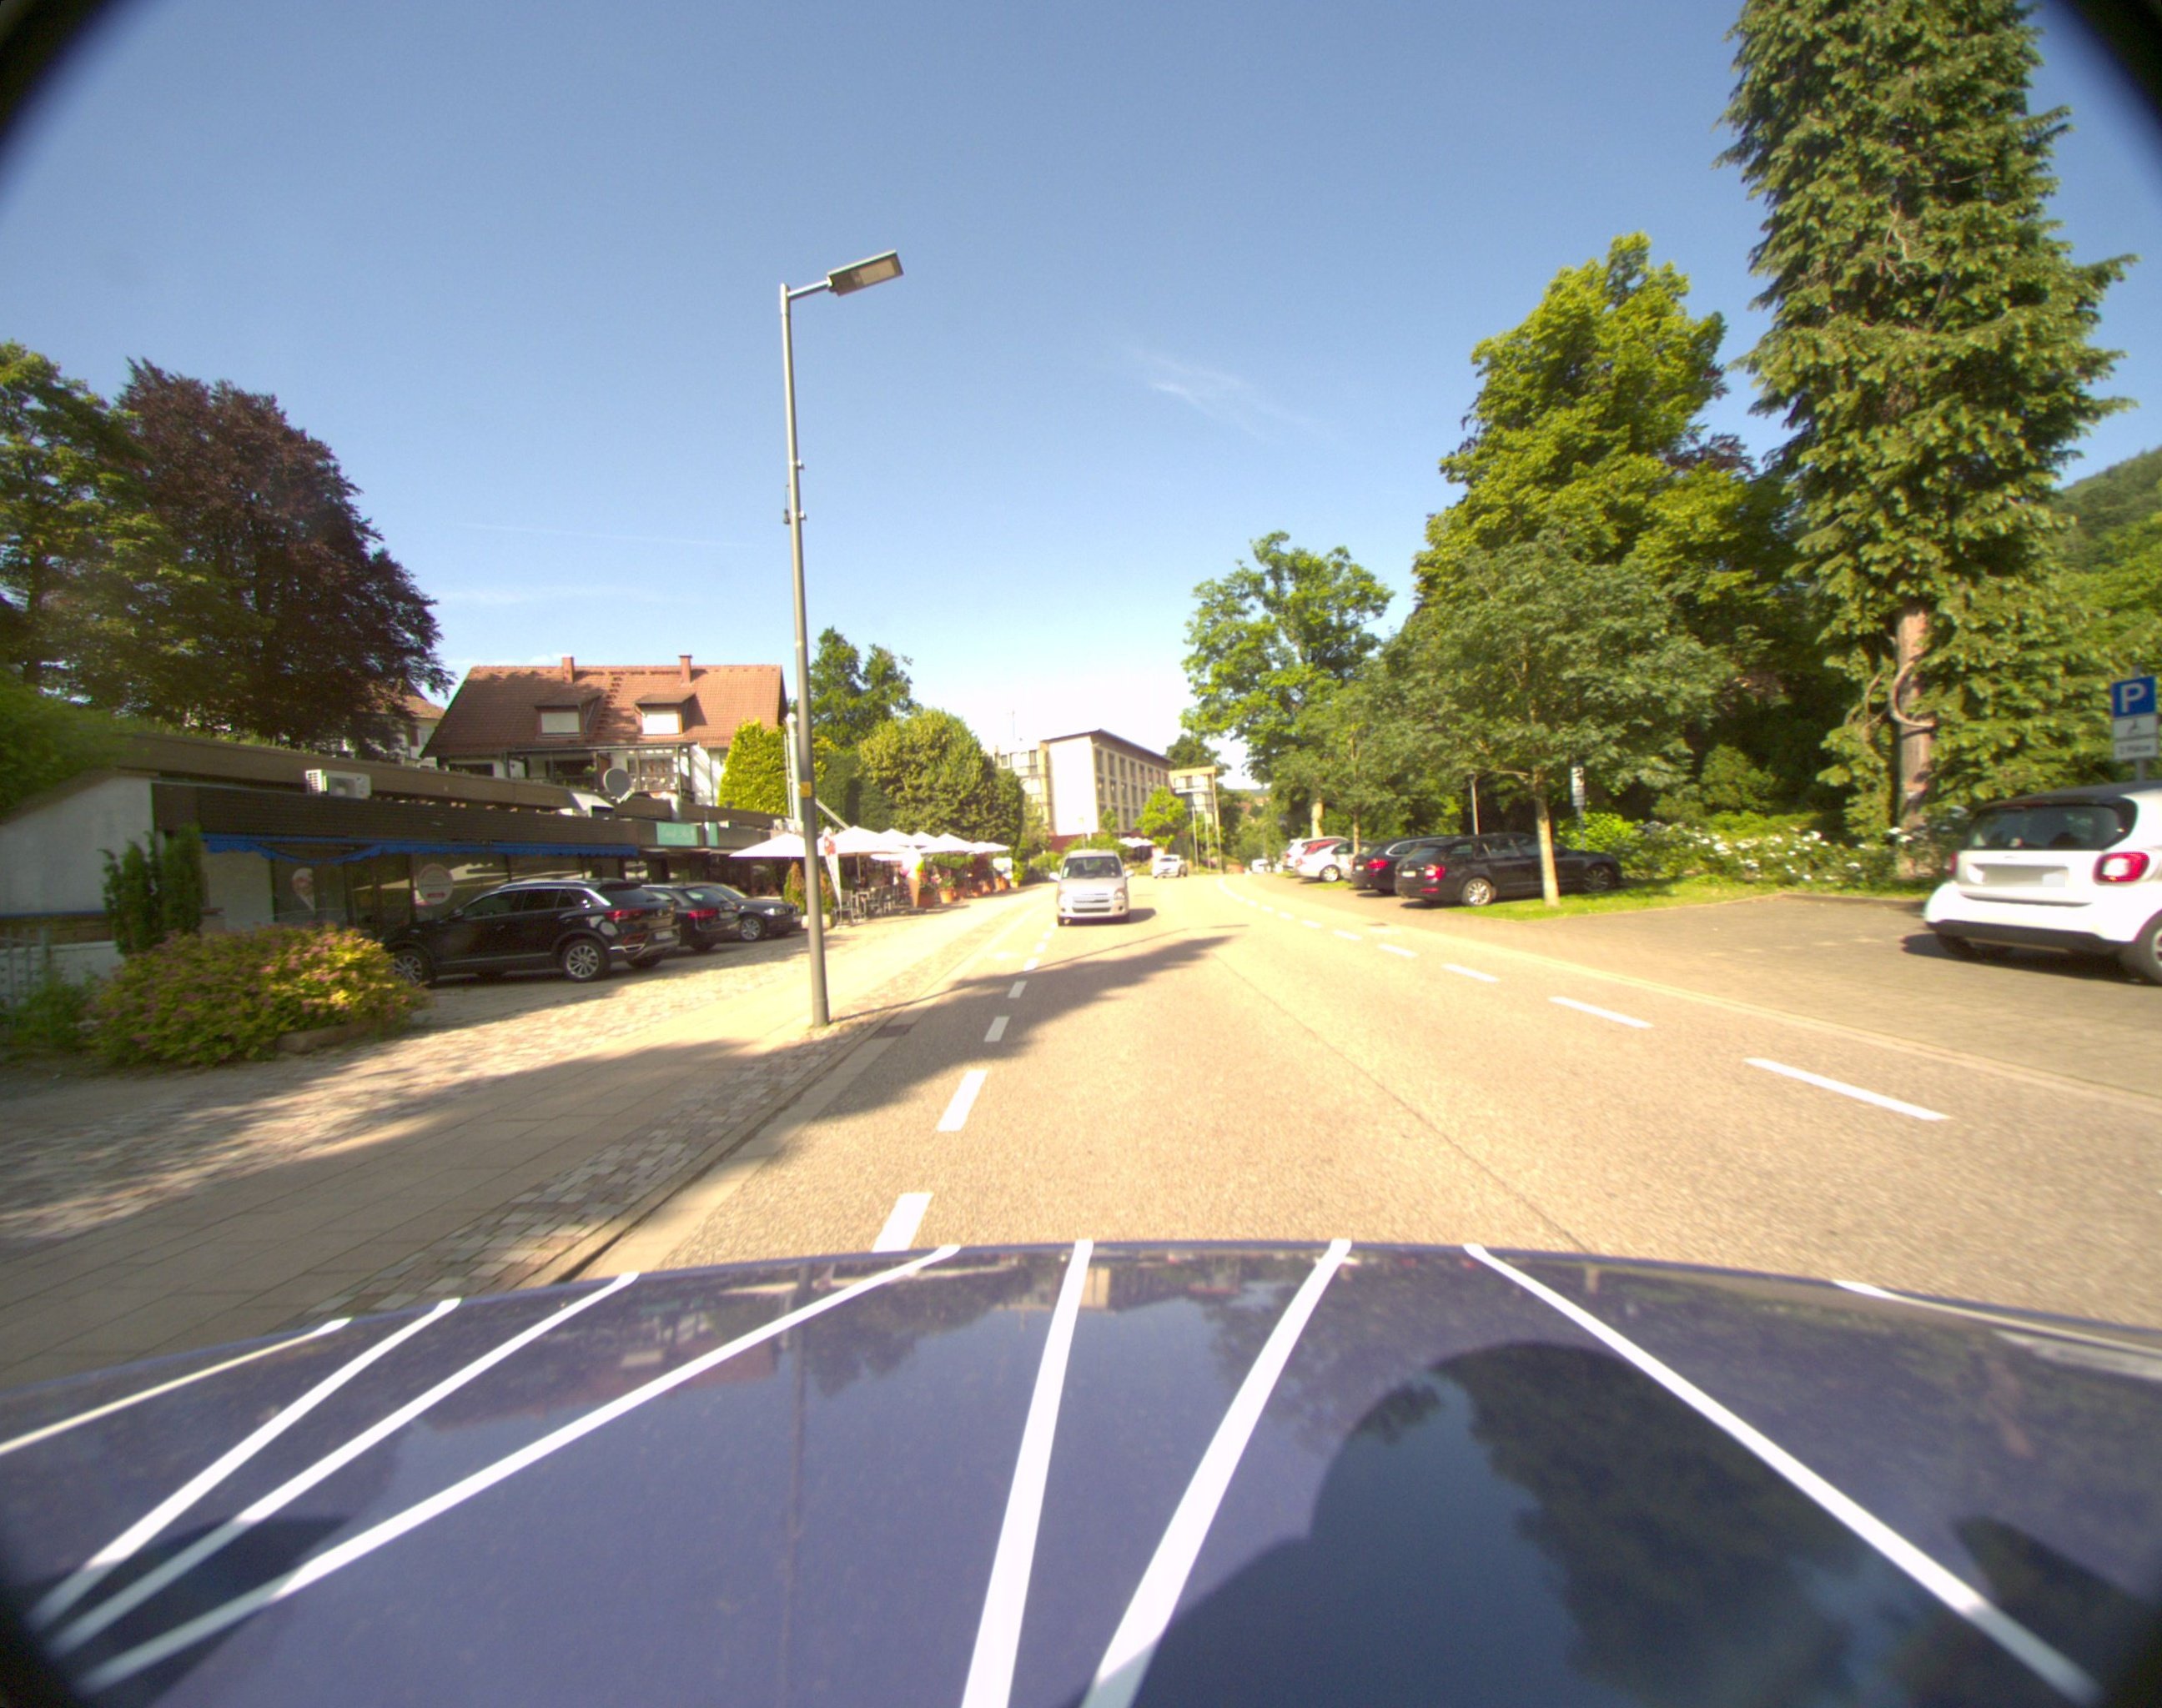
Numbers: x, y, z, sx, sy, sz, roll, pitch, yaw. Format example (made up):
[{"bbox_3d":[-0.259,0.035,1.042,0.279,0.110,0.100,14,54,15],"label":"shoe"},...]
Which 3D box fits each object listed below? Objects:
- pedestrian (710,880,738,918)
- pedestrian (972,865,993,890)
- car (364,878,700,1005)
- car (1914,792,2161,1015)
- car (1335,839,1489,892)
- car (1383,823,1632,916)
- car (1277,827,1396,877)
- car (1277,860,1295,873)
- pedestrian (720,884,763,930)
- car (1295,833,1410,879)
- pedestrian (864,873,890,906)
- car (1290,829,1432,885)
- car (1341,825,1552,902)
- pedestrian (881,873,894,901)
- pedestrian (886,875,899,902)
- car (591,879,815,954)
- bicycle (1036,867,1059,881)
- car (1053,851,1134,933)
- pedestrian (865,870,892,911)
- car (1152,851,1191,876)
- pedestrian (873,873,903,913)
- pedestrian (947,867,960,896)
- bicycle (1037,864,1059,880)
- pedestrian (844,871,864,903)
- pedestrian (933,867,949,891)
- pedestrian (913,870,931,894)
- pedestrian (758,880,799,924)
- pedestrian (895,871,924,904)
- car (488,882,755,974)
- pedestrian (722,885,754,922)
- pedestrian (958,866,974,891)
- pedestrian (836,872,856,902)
[{"bbox_3d":[-12.905,1.620,27.465,0.686,1.291,0.638,-2,1,41],"label":"pedestrian"},{"bbox_3d":[-5.067,1.216,39.308,0.950,1.276,0.645,-2,0,0],"label":"pedestrian"},{"bbox_3d":[-8.422,1.302,11.953,3.886,1.571,1.748,-3,0,-2],"label":"car"},{"bbox_3d":[9.222,0.280,6.261,2.656,1.538,1.683,-6,1,7],"label":"car"},{"bbox_3d":[9.852,0.319,22.841,3.803,1.236,1.762,-5,1,1],"label":"car"},{"bbox_3d":[8.916,0.304,16.083,4.288,1.423,1.712,-6,1,-5],"label":"car"},{"bbox_3d":[11.029,-0.080,33.049,4.493,1.654,1.810,-6,1,4],"label":"car"},{"bbox_3d":[24.979,1.518,92.556,1.738,1.389,4.005,-3,0,20],"label":"car"},{"bbox_3d":[-9.752,1.511,21.850,0.699,1.253,0.814,-3,1,28],"label":"pedestrian"},{"bbox_3d":[10.860,0.083,30.601,3.995,1.424,1.720,-6,1,7],"label":"car"},{"bbox_3d":[-8.071,1.400,30.040,0.701,1.253,0.810,-3,1,-34],"label":"pedestrian"},{"bbox_3d":[10.055,0.104,27.630,4.491,1.409,1.811,-7,1,12],"label":"car"},{"bbox_3d":[9.323,0.241,19.633,4.505,1.501,1.713,-5,0,0],"label":"car"},{"bbox_3d":[-8.866,1.491,34.800,0.470,1.258,0.440,-2,0,-2],"label":"pedestrian"},{"bbox_3d":[-9.067,1.671,36.562,0.409,1.260,0.509,-2,0,12],"label":"pedestrian"},{"bbox_3d":[-8.638,1.410,17.590,4.272,1.371,1.709,-3,1,3],"label":"car"},{"bbox_3d":[-2.147,1.276,48.104,1.543,0.904,0.385,-1,0,35],"label":"bicycle"},{"bbox_3d":[0.238,0.776,17.770,1.605,1.628,3.999,-3,0,-1],"label":"car"},{"bbox_3d":[-7.123,1.282,26.715,0.701,1.373,0.810,-3,1,-28],"label":"pedestrian"},{"bbox_3d":[5.902,0.603,49.348,1.738,1.488,3.935,-2,-1,18],"label":"car"},{"bbox_3d":[-6.437,1.295,25.351,0.812,1.253,0.700,-3,1,-7],"label":"pedestrian"},{"bbox_3d":[-5.593,1.196,33.319,0.473,1.238,0.592,-2,1,-14],"label":"pedestrian"},{"bbox_3d":[-2.137,1.162,49.169,1.544,0.977,0.385,-1,0,35],"label":"bicycle"},{"bbox_3d":[-9.781,1.415,32.693,0.639,1.297,0.579,-2,1,-34],"label":"pedestrian"},{"bbox_3d":[-7.253,1.294,39.331,0.596,1.230,0.507,-3,1,-39],"label":"pedestrian"},{"bbox_3d":[-8.164,1.434,39.024,0.507,1.224,0.700,-2,0,22],"label":"pedestrian"},{"bbox_3d":[-8.990,1.428,22.597,0.699,1.253,0.814,-3,1,28],"label":"pedestrian"},{"bbox_3d":[-6.854,1.321,30.400,0.810,1.253,0.701,-3,1,21],"label":"pedestrian"},{"bbox_3d":[-8.874,1.414,14.911,4.119,1.407,1.748,-3,1,3],"label":"car"},{"bbox_3d":[-11.871,1.707,26.293,0.686,1.201,0.702,-3,1,33],"label":"pedestrian"},{"bbox_3d":[-5.988,1.276,39.543,0.649,1.276,0.645,-2,0,0],"label":"pedestrian"},{"bbox_3d":[-10.307,1.450,33.318,0.639,1.275,0.579,-2,0,-34],"label":"pedestrian"}]
